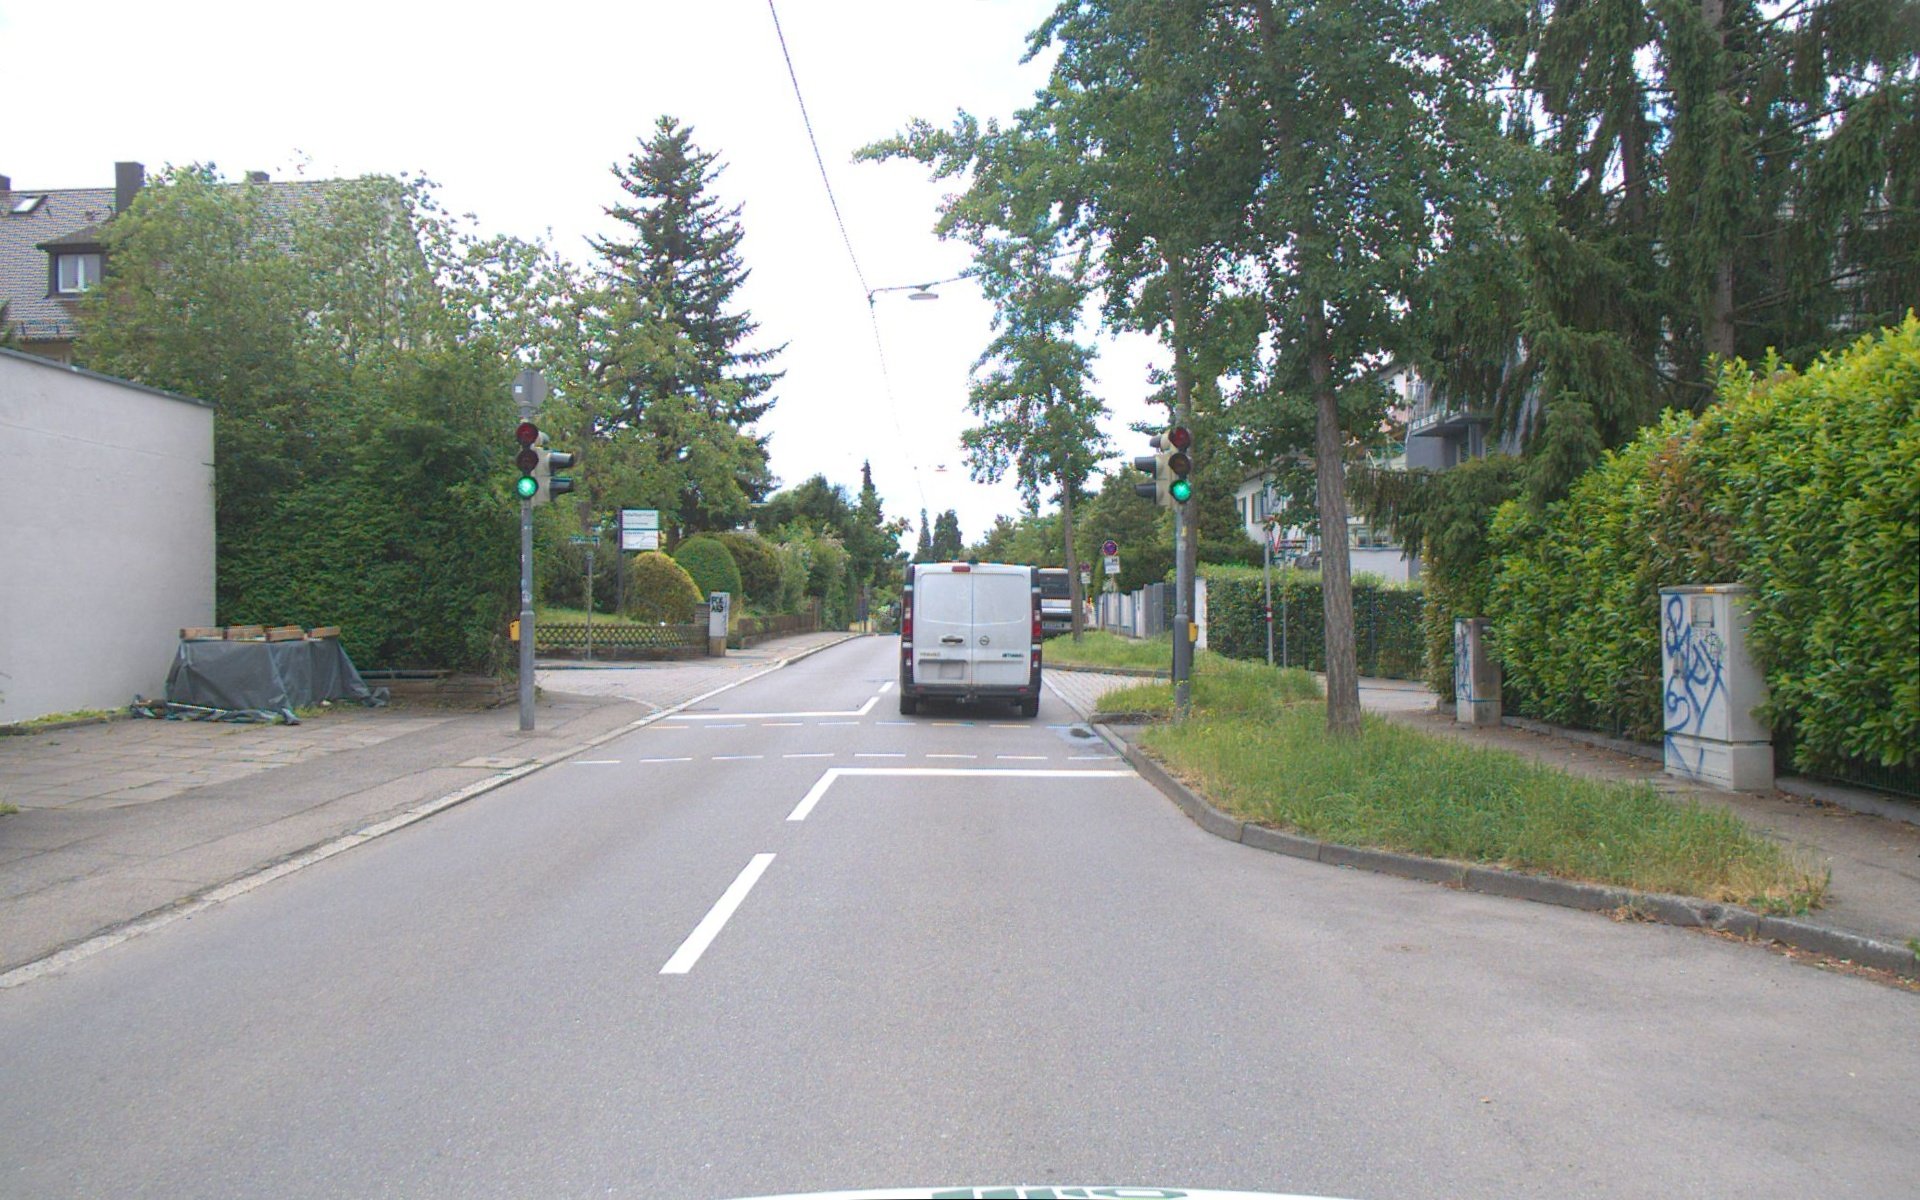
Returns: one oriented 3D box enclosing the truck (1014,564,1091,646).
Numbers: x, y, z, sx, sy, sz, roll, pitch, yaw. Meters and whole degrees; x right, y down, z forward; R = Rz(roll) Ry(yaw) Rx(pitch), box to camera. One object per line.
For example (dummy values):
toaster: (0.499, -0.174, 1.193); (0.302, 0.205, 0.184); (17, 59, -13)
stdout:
truck: (3.000, 0.170, 55.426); (2.142, 2.515, 7.430); (1, 0, 0)

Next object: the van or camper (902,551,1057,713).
van or camper: (0.222, 0.454, 22.853); (1.900, 1.988, 4.764); (1, -1, -1)
